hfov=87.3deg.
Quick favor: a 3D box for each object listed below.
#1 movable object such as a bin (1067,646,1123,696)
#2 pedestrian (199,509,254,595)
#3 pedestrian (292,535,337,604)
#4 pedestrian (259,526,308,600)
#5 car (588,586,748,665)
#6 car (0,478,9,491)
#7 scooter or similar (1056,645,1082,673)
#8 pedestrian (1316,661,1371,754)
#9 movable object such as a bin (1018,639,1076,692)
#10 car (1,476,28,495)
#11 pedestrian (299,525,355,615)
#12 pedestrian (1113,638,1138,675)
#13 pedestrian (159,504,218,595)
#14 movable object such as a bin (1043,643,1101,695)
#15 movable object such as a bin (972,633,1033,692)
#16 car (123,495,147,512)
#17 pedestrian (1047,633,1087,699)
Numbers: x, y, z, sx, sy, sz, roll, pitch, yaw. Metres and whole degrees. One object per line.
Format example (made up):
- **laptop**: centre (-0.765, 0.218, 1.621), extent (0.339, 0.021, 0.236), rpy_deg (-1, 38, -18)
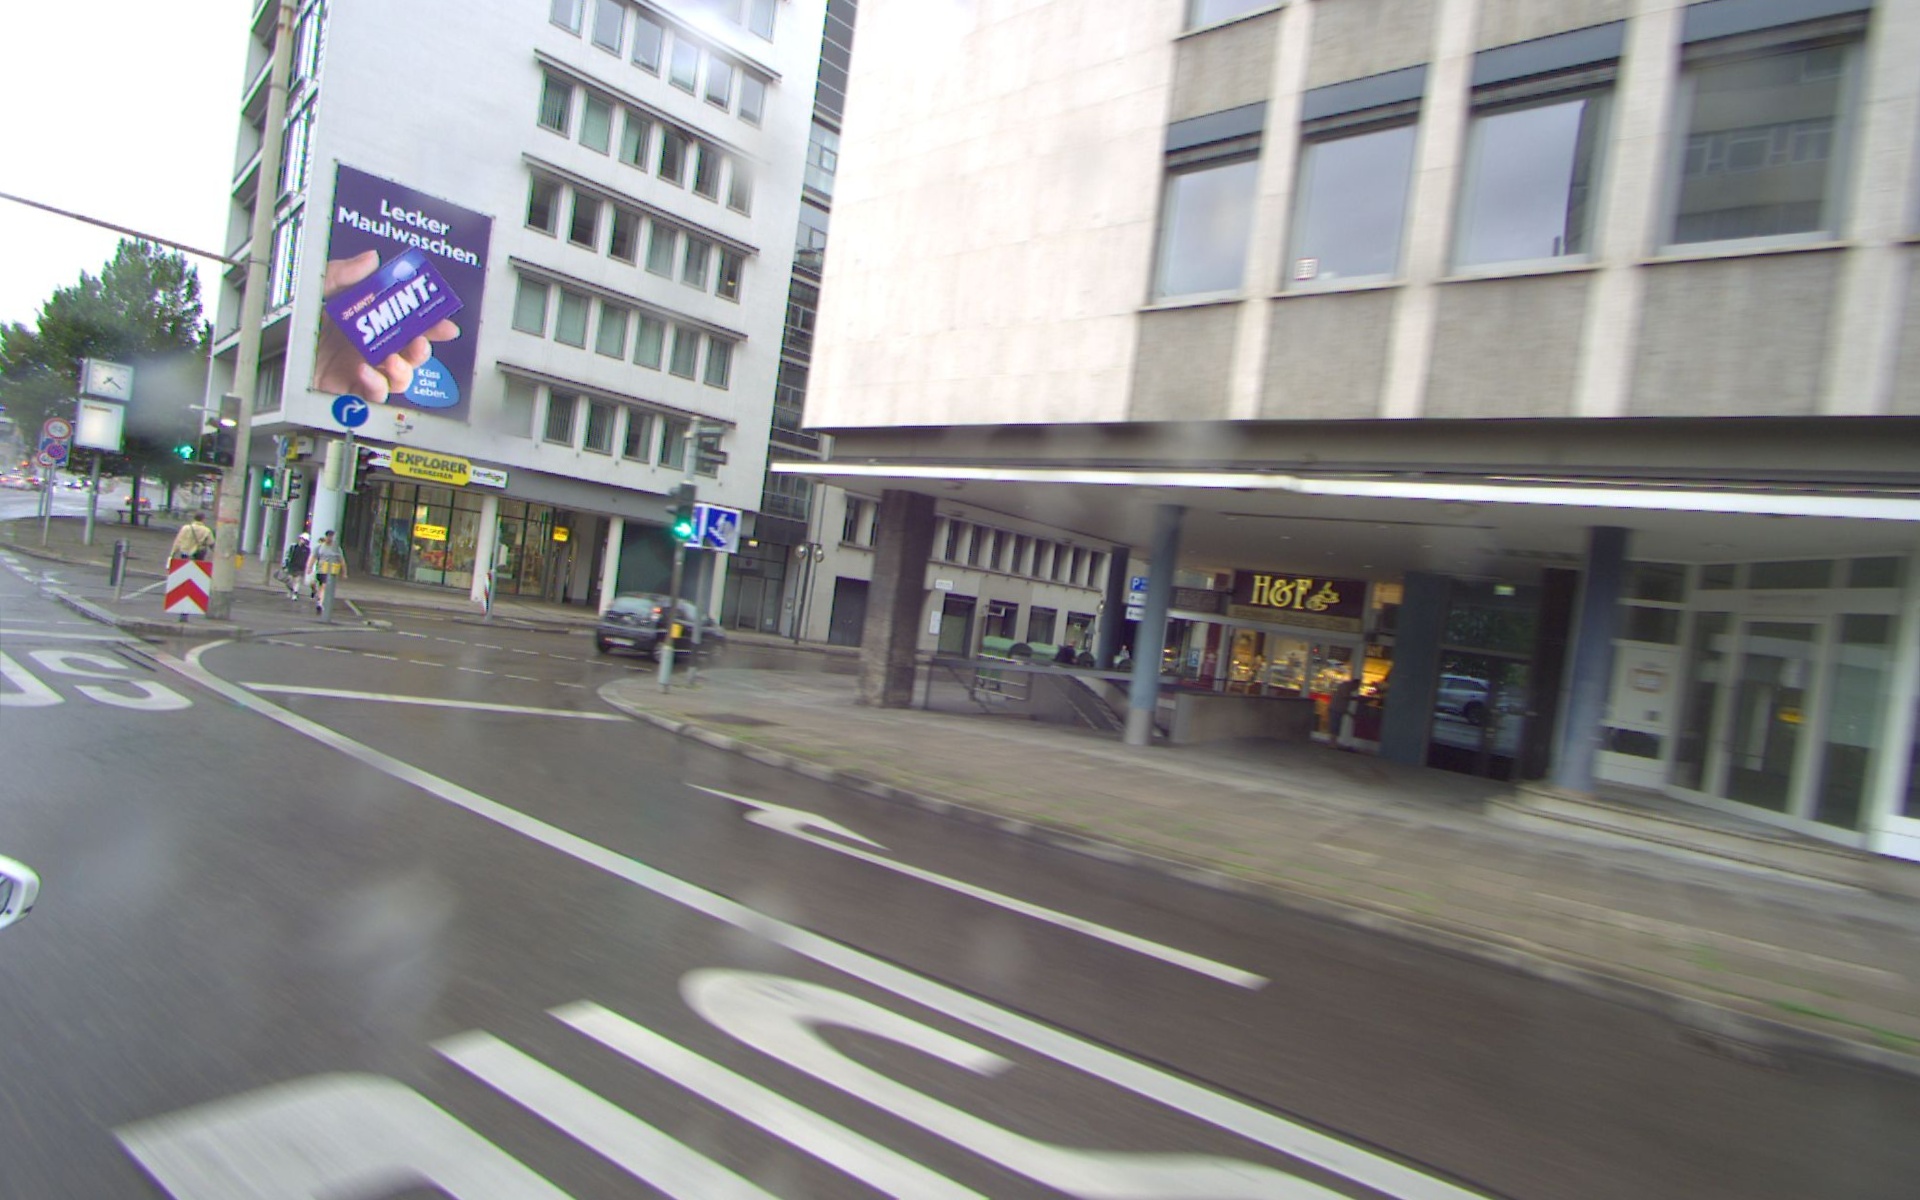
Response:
- **movable object such as a bin**: centre (4.300, 2.255, 31.977), extent (1.097, 1.399, 1.184), rpy_deg (8, 0, -43)
- **pedestrian**: centre (-16.658, -1.082, 22.841), extent (0.746, 1.820, 0.806), rpy_deg (7, 1, -44)
- **pedestrian**: centre (-15.633, -0.732, 24.376), extent (0.618, 1.561, 0.650), rpy_deg (8, -1, -21)
- **pedestrian**: centre (-16.257, -0.888, 24.200), extent (0.661, 1.675, 0.650), rpy_deg (8, -1, -21)
- **car**: centre (-6.606, 0.662, 23.235), extent (1.546, 1.445, 4.005), rpy_deg (7, -2, 15)
- **car**: centre (-118.087, -14.279, 123.058), extent (1.983, 1.504, 3.960), rpy_deg (8, -1, -36)
- **scooter or similar**: centre (5.745, 3.106, 53.115), extent (1.174, 1.304, 0.243), rpy_deg (8, 0, -4)
- **pedestrian**: centre (8.122, 2.252, 21.316), extent (0.697, 1.825, 0.801), rpy_deg (8, 0, 7)
- **movable object such as a bin**: centre (2.623, 1.979, 30.355), extent (1.097, 1.399, 1.184), rpy_deg (8, 0, -43)
- **car**: centre (-103.582, -12.548, 110.261), extent (1.882, 1.662, 3.953), rpy_deg (9, -2, -42)
- **pedestrian**: centre (-13.503, -0.631, 21.485), extent (0.661, 1.815, 0.769), rpy_deg (8, -1, -21)
- **pedestrian**: centre (9.170, 3.148, 55.642), extent (0.850, 1.895, 0.809), rpy_deg (8, -1, -44)
- **pedestrian**: centre (-16.518, -1.084, 21.541), extent (0.746, 1.820, 0.806), rpy_deg (7, 1, -44)
- **movable object such as a bin**: centre (3.475, 2.133, 31.192), extent (1.097, 1.399, 1.184), rpy_deg (8, 0, -43)
- **movable object such as a bin**: centre (1.210, 1.771, 28.518), extent (0.963, 1.447, 1.265), rpy_deg (7, 0, -43)
- **car**: centre (-97.496, -11.420, 118.947), extent (1.684, 1.503, 3.965), rpy_deg (8, -2, -34)
- **pedestrian**: centre (3.010, 1.851, 28.241), extent (0.588, 1.752, 0.769), rpy_deg (7, 0, 39)
